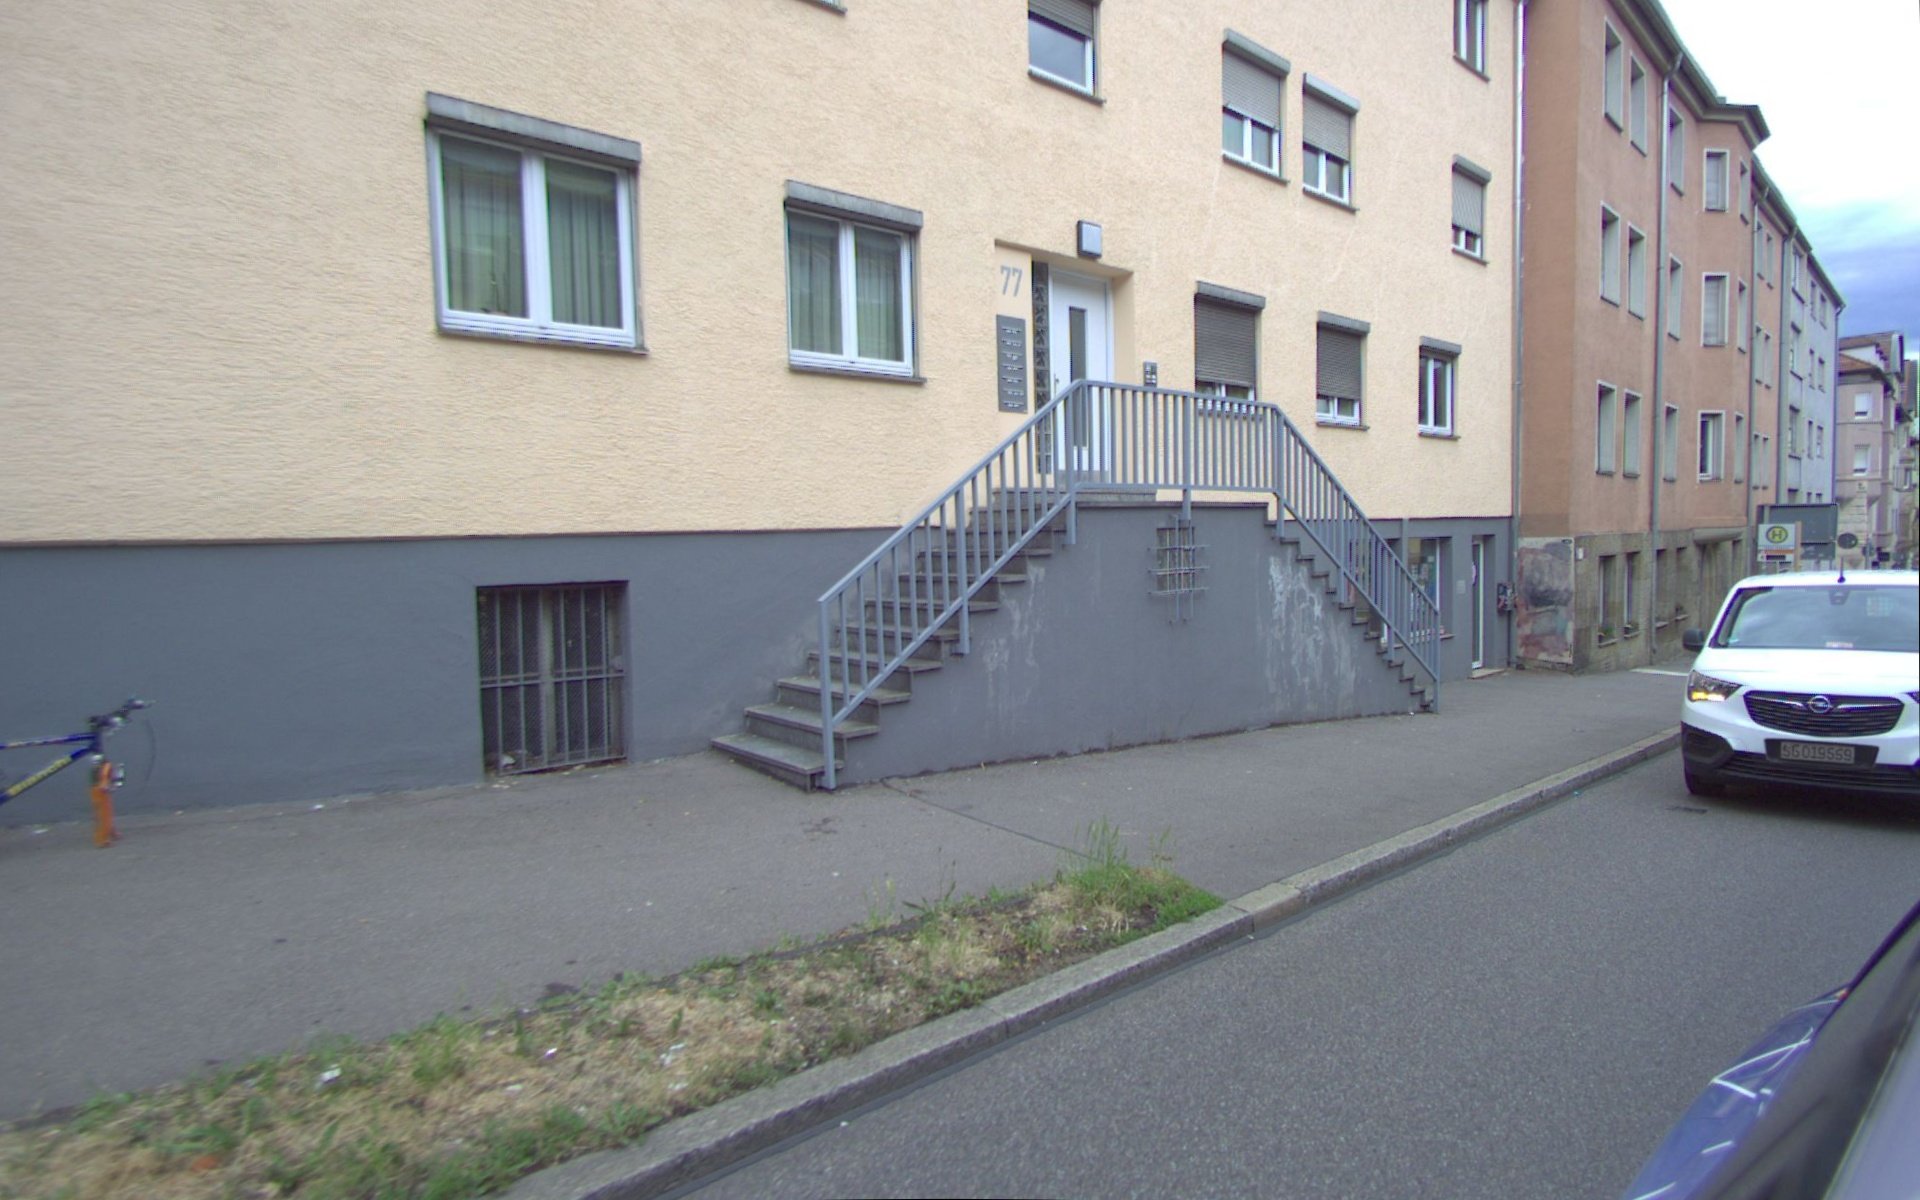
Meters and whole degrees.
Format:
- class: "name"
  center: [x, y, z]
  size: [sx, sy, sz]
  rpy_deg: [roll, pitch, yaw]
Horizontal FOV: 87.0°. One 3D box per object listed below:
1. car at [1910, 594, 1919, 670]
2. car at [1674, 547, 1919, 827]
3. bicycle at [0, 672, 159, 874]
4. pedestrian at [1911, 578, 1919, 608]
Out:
- class: "car"
  center: [22.602, 0.656, 22.647]
  size: [4.095, 1.628, 1.776]
  rpy_deg: [0, -1, -45]
- class: "car"
  center: [7.605, 0.532, 8.500]
  size: [4.764, 1.812, 1.785]
  rpy_deg: [-1, 0, -44]
- class: "bicycle"
  center: [-4.380, 0.760, 4.290]
  size: [1.531, 0.782, 0.489]
  rpy_deg: [-1, 2, -41]
- class: "pedestrian"
  center: [54.558, -0.397, 57.523]
  size: [0.733, 1.668, 0.989]
  rpy_deg: [0, 0, 44]
